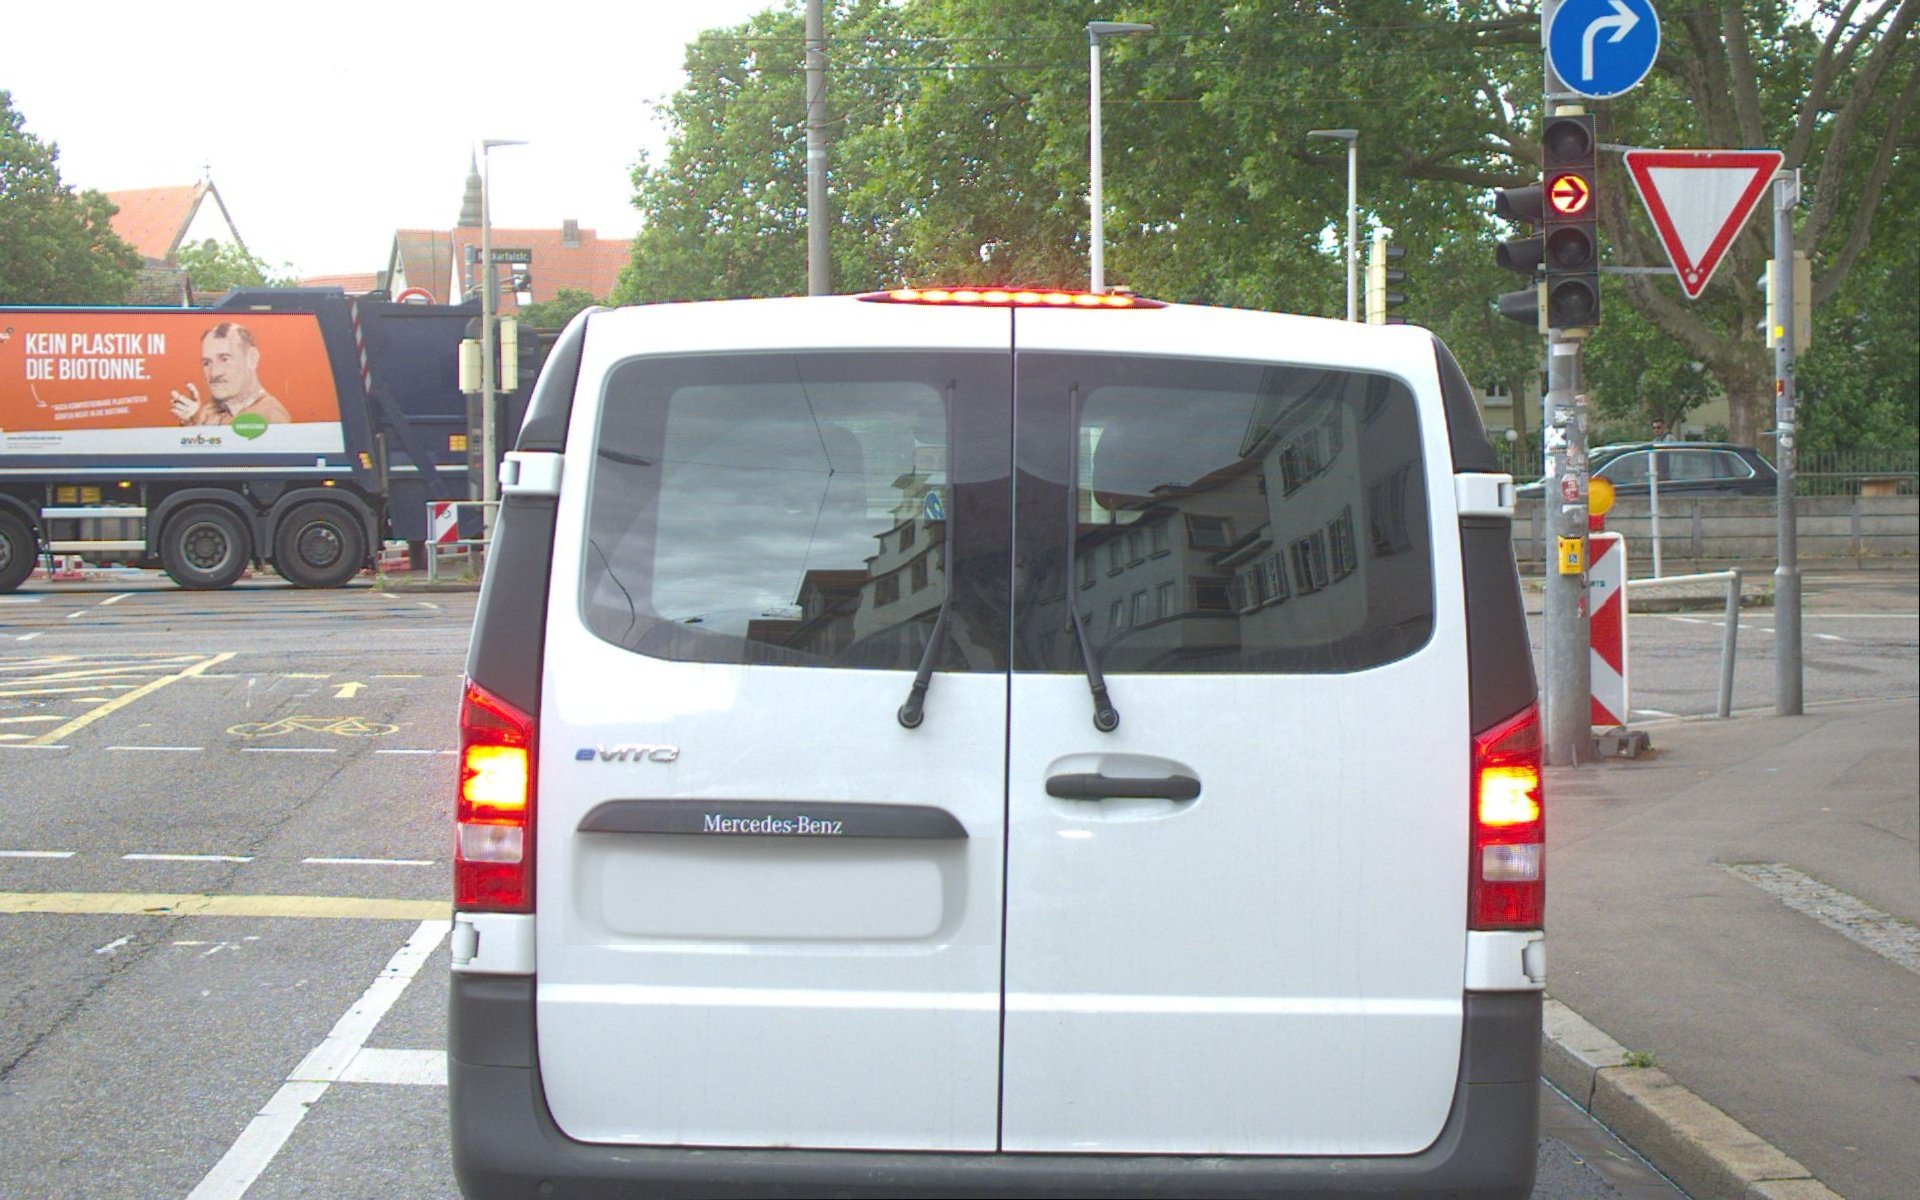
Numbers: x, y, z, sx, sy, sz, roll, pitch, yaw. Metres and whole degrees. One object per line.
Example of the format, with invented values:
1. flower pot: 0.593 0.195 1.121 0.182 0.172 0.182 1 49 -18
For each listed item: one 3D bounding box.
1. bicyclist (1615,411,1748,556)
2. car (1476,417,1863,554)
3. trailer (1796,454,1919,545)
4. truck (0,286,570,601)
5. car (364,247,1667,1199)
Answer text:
1. bicyclist: 10.809 -1.741 51.562 1.563 2.148 1.248 -1 1 -14
2. car: 9.261 -1.490 45.050 4.518 1.628 2.001 -2 1 -8
3. trailer: 13.012 -1.354 45.606 3.200 1.154 2.001 -2 1 -8
4. truck: -9.967 -1.864 41.682 10.182 3.683 2.272 0 1 -15
5. car: -0.003 0.325 7.429 1.993 1.916 4.250 1 3 -2
